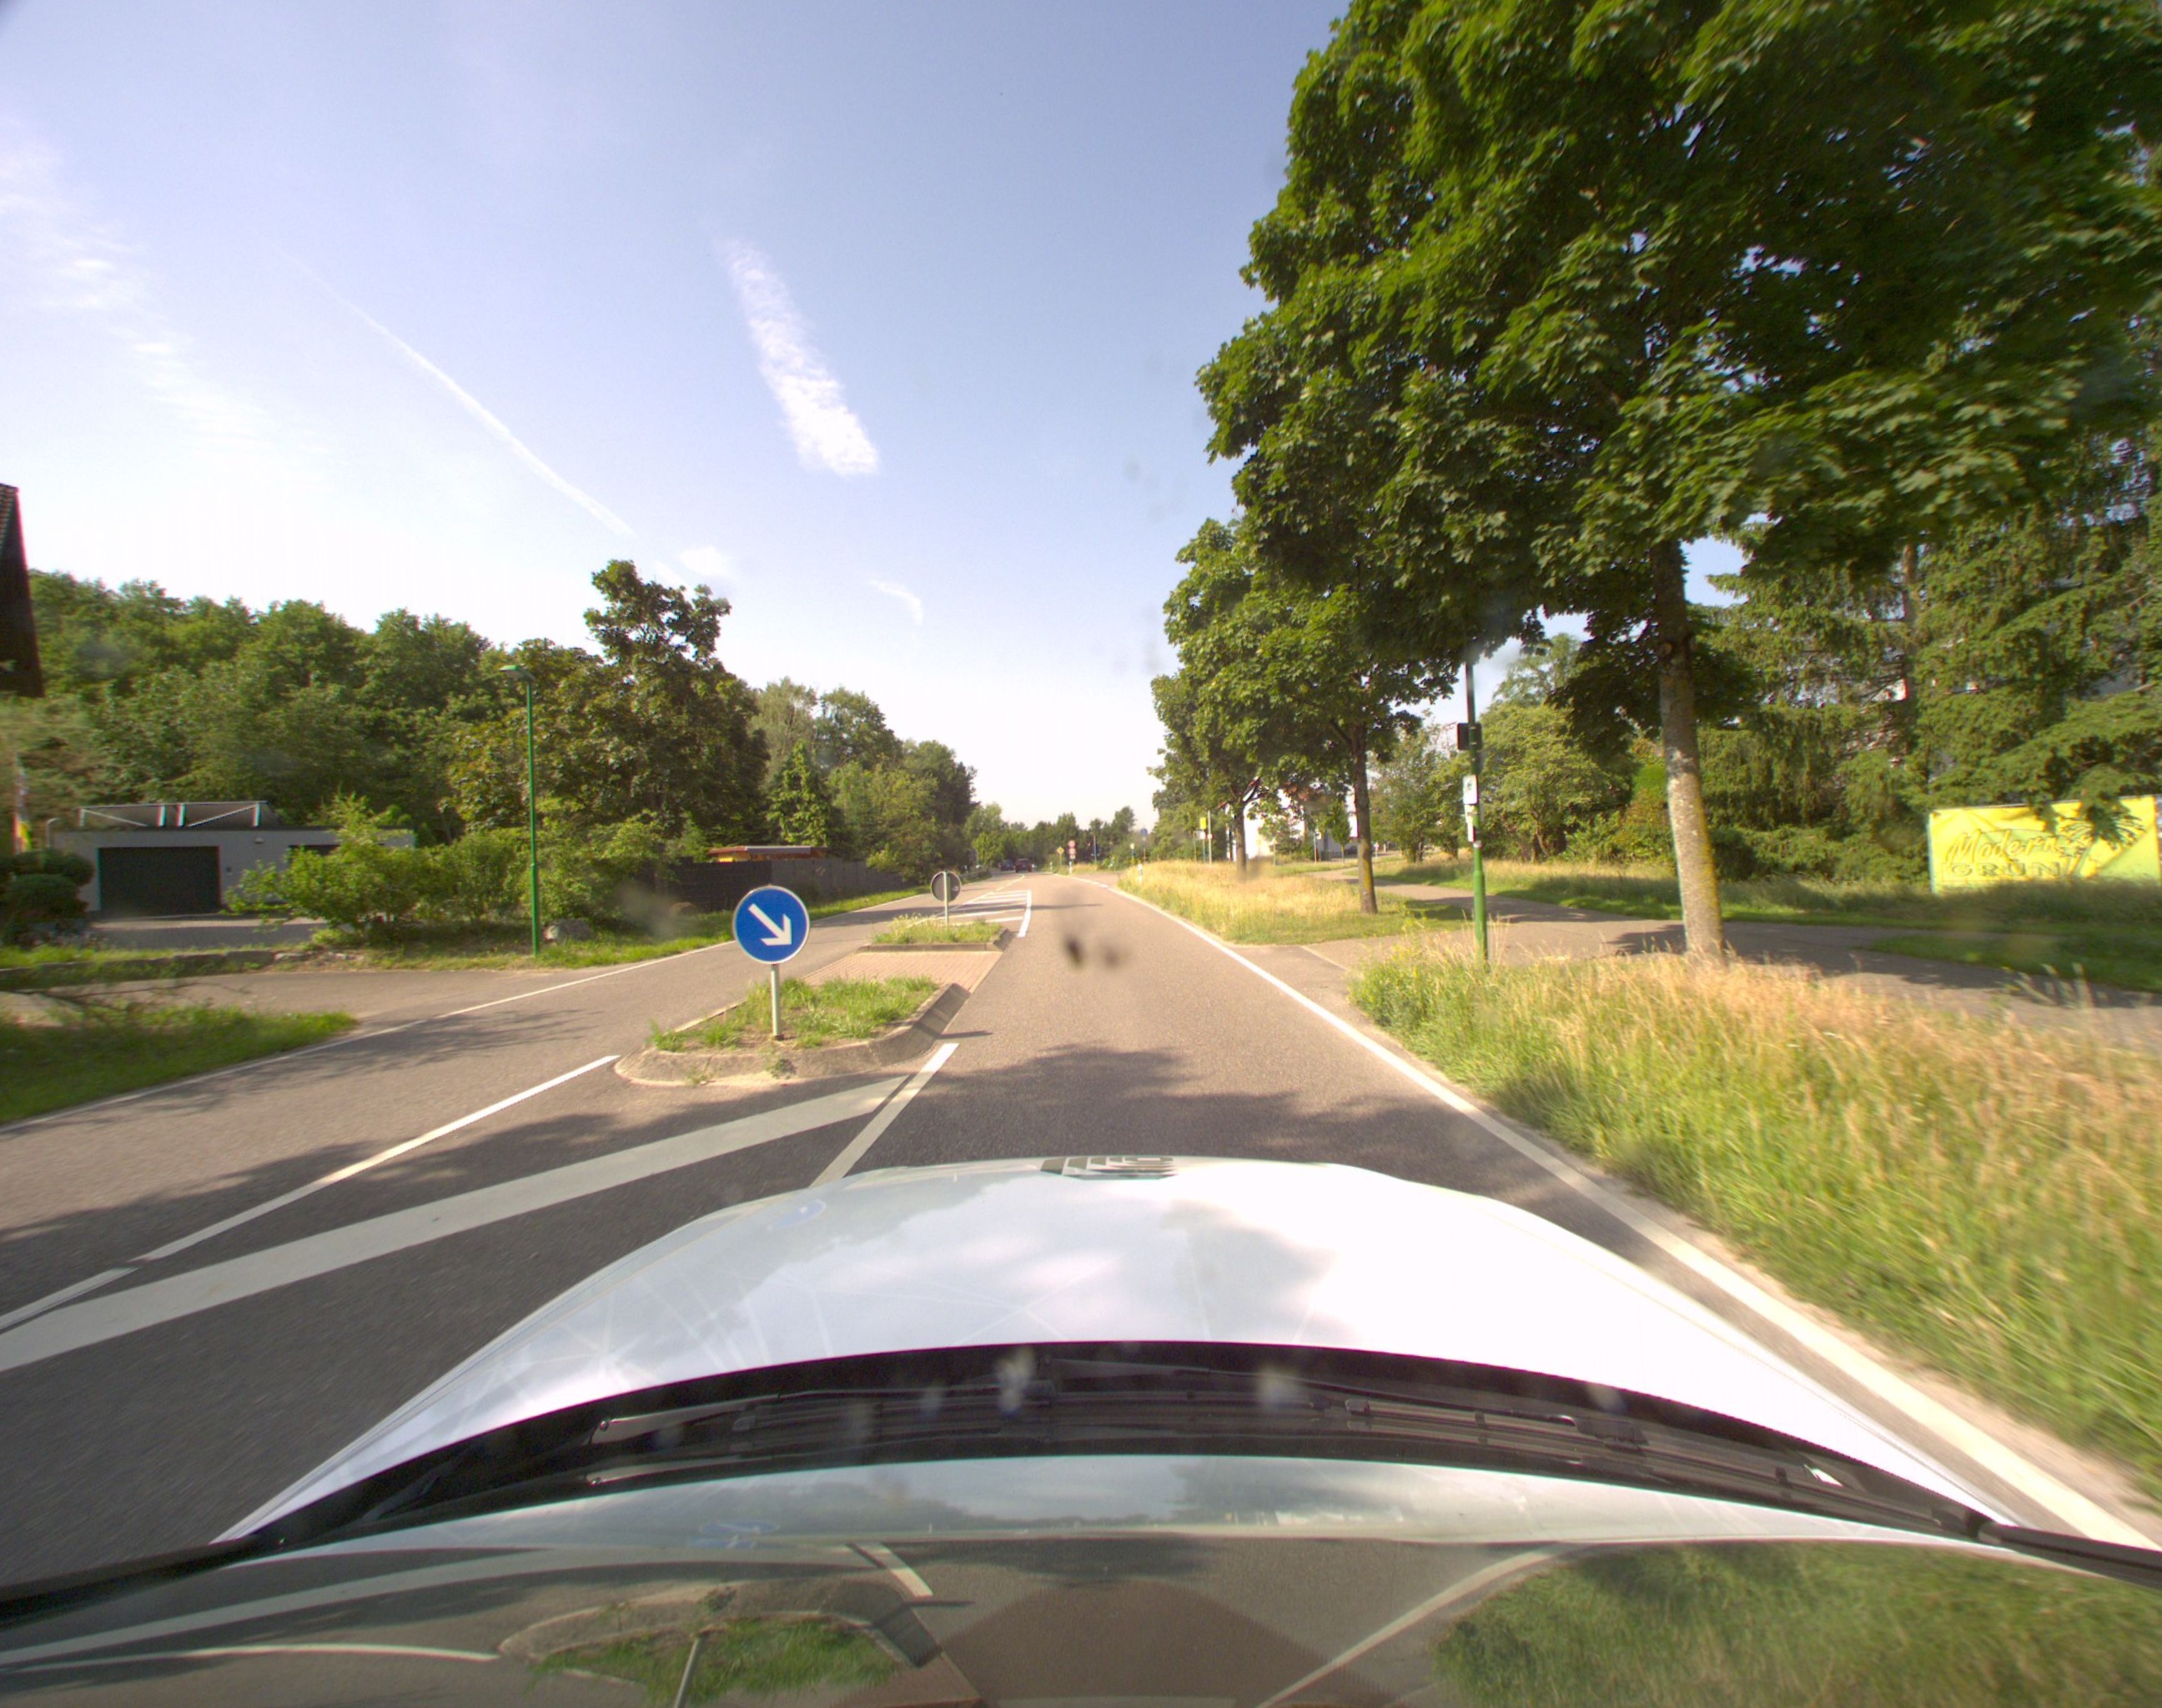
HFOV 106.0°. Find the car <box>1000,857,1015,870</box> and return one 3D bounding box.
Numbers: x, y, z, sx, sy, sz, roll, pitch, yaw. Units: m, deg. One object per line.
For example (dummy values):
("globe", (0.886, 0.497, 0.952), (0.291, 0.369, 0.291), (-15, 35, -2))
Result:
("car", (-11.228, 1.440, 124.160), (2.003, 1.771, 3.989), (-2, 0, -8))

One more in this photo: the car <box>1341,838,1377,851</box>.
("car", (38.336, -1.246, 112.330), (4.402, 1.698, 1.782), (-1, 0, 36))

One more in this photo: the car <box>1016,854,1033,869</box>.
("car", (-7.218, 0.957, 103.903), (1.924, 1.771, 3.989), (-2, 0, -8))
